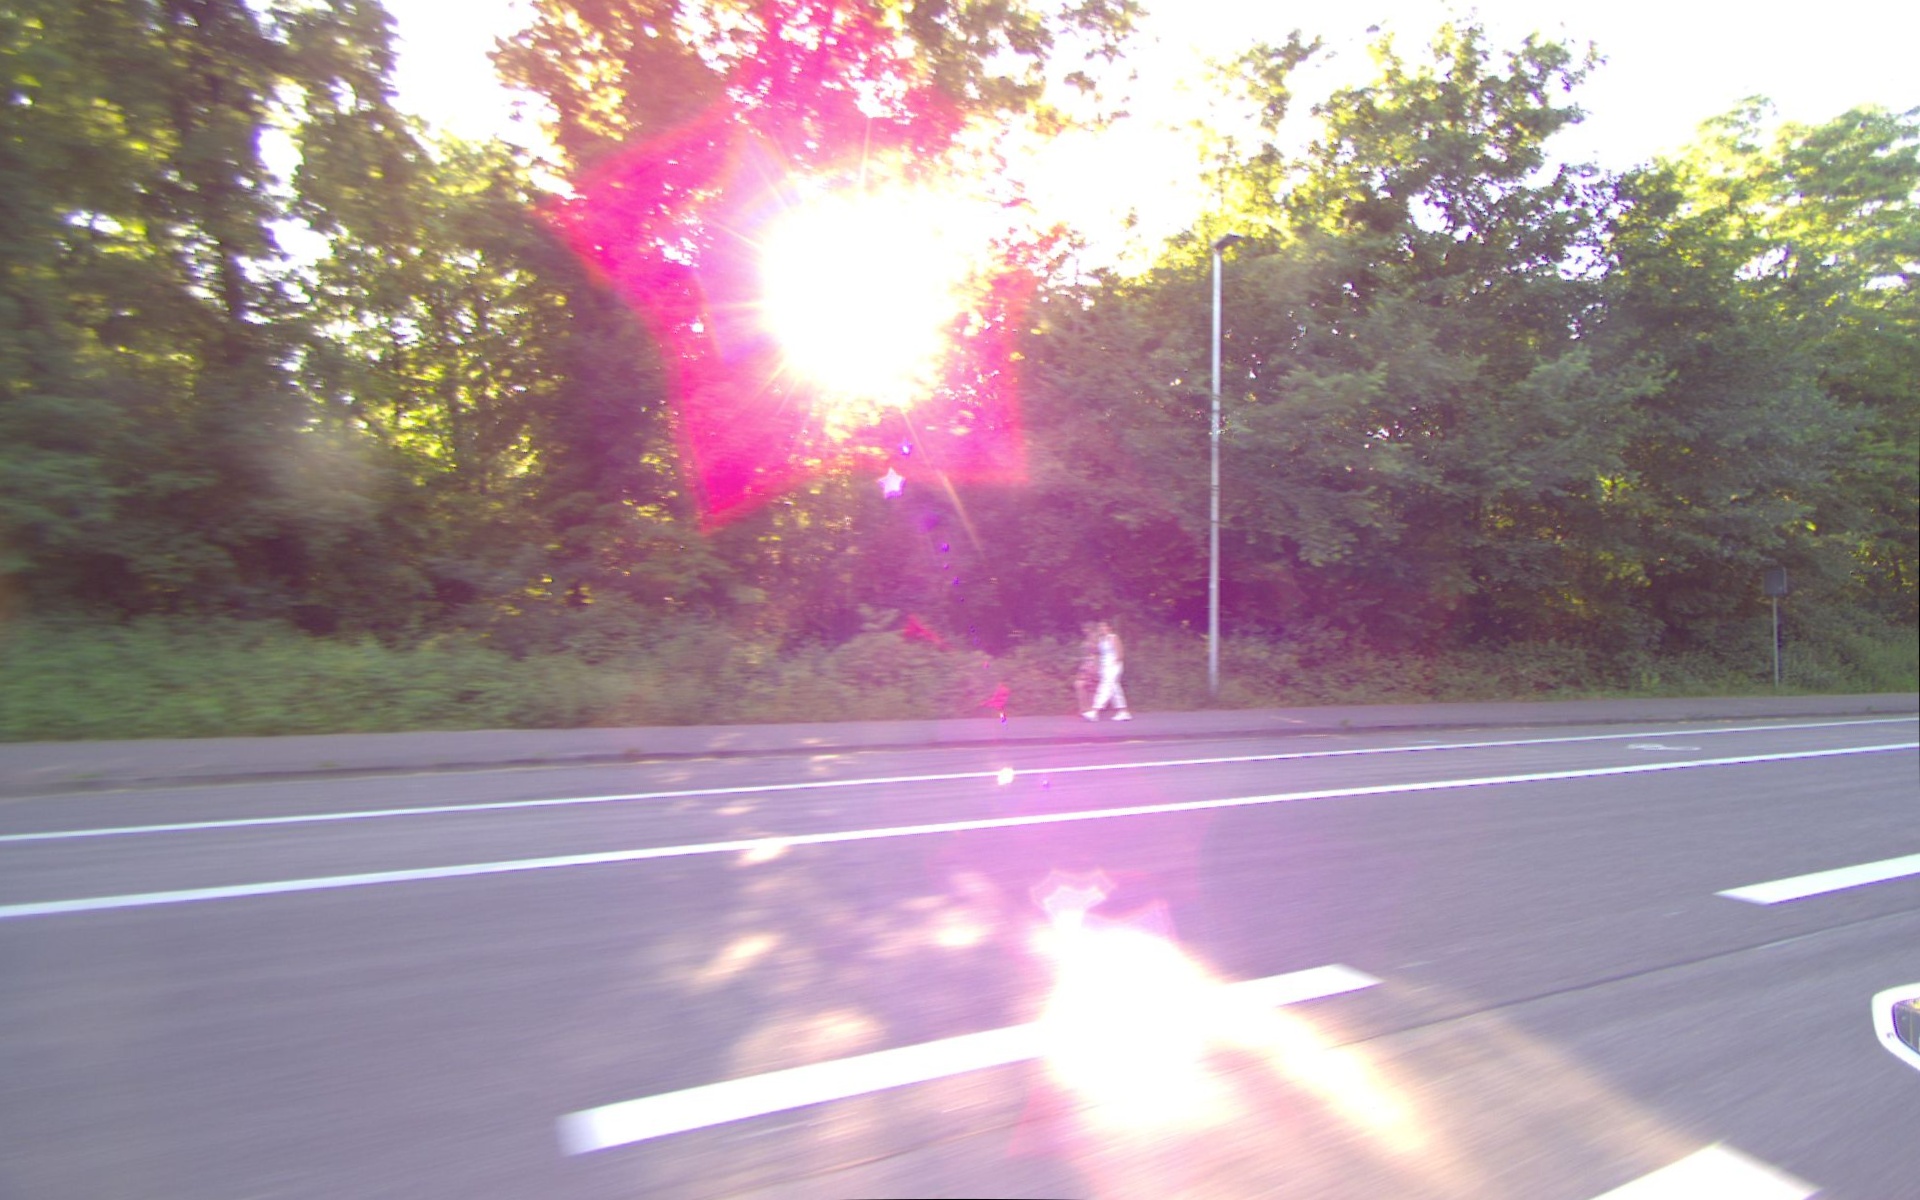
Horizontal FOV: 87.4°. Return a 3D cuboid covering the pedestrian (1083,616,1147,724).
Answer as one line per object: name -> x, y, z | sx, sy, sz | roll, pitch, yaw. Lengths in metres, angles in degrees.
pedestrian -> 2.482, 1.105, 16.089 | 0.778, 1.675, 0.673 | 1, -1, -22

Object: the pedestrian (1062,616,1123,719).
pedestrian -> 2.199, 1.107, 16.712 | 0.778, 1.675, 0.673 | 1, -1, -22
